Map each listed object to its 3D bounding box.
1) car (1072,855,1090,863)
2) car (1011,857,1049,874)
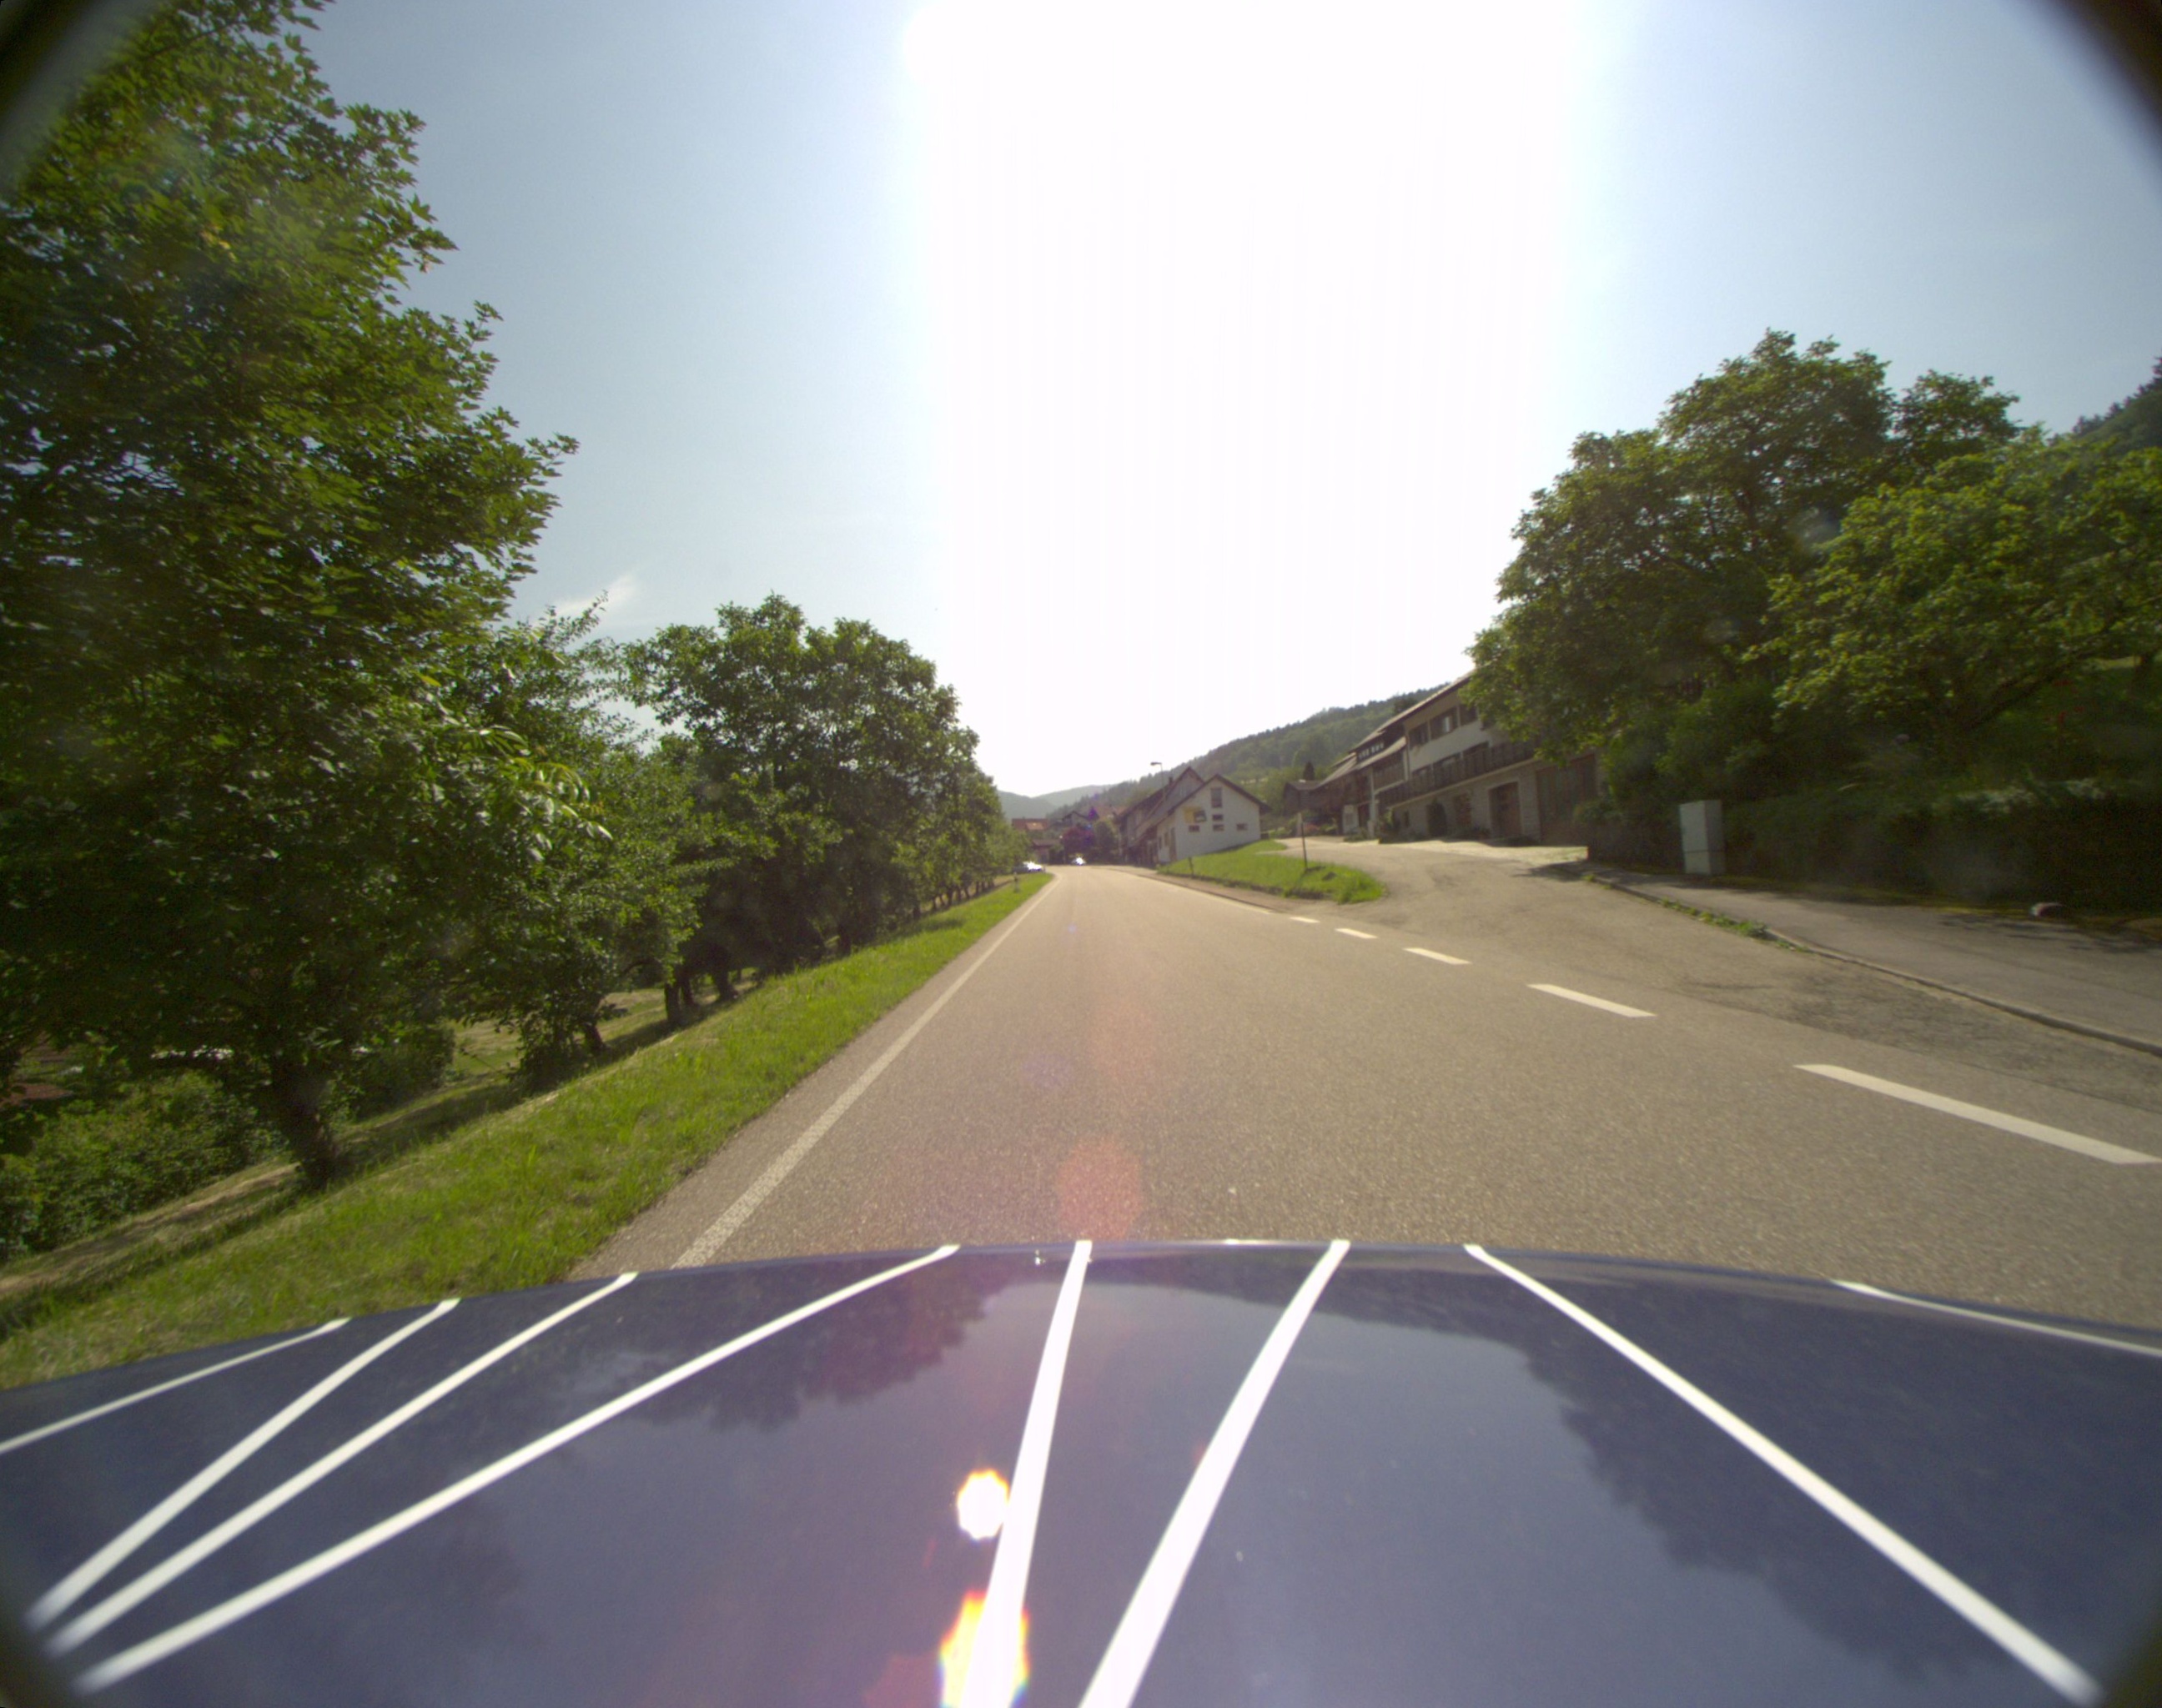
[{"bbox_3d":[-0.016,0.993,138.319,1.789,1.331,4.689,-2,0,-19],"label":"car"},{"bbox_3d":[-6.047,1.415,89.390,4.451,1.561,1.908,-6,0,45],"label":"car"}]
